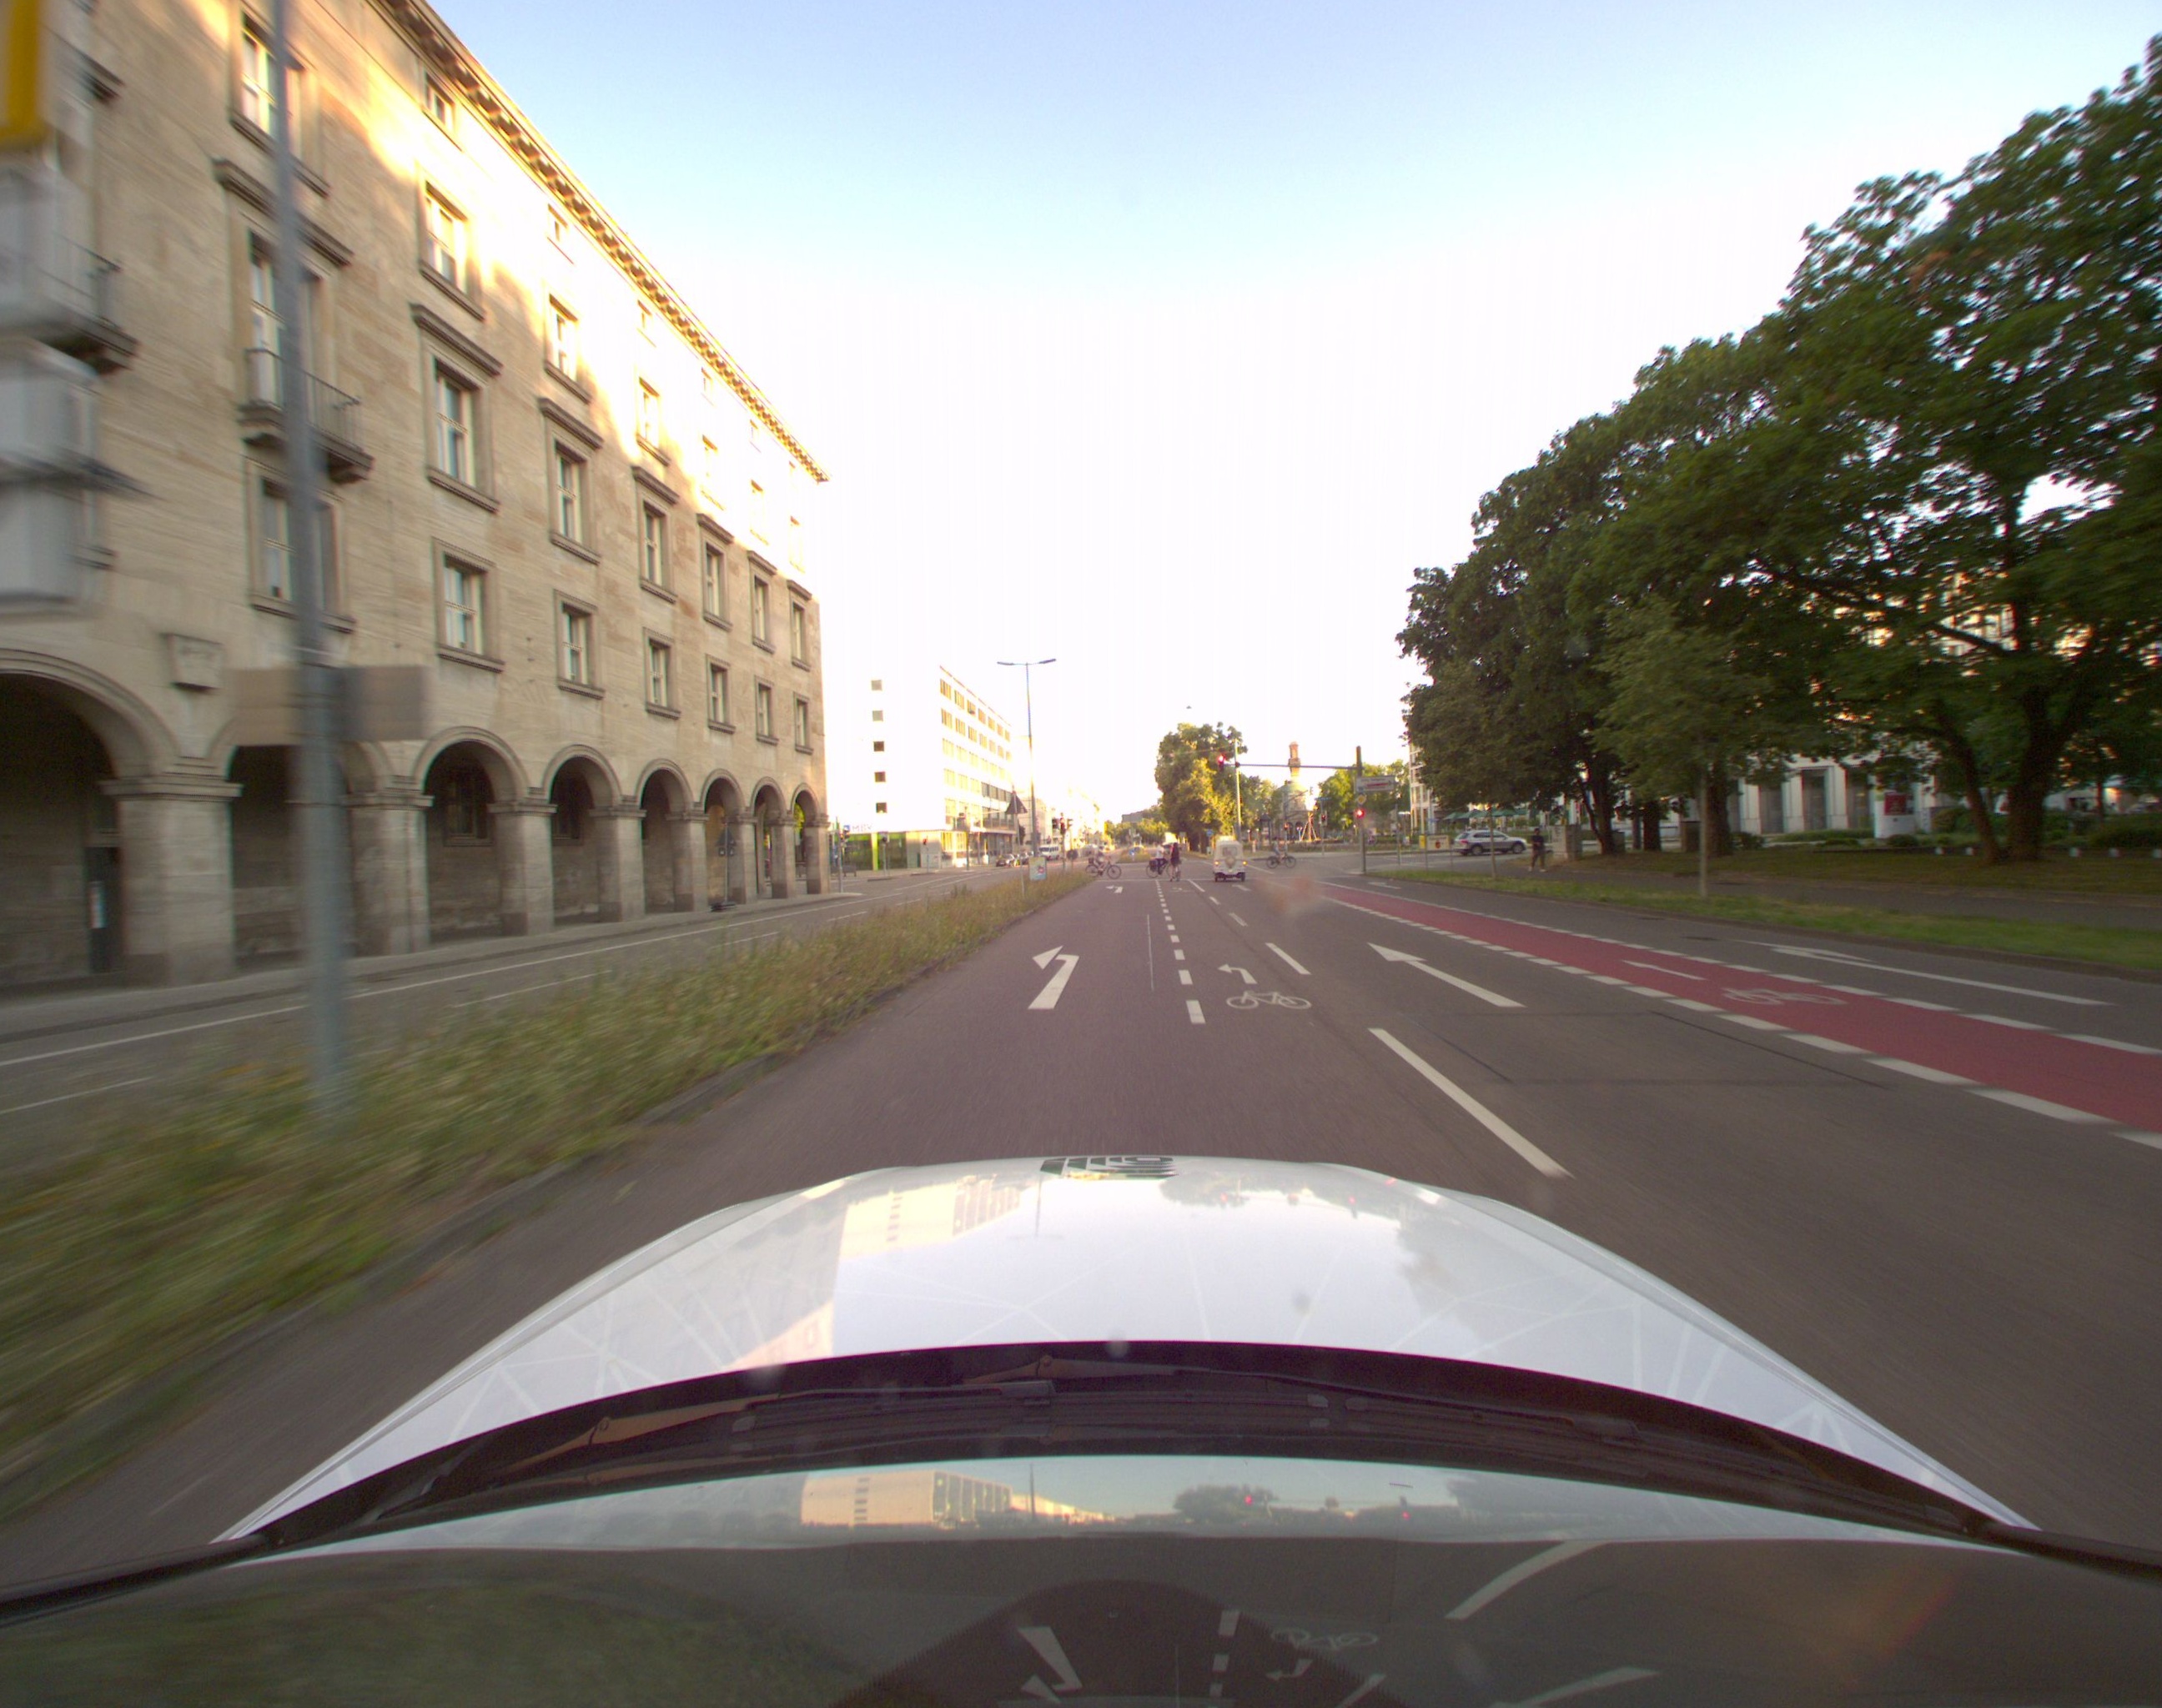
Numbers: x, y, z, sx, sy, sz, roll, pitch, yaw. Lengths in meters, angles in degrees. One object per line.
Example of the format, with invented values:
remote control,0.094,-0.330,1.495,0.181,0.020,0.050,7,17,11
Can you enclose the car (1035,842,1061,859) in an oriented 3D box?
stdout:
car,-5.094,-0.582,125.928,2.160,2.385,6.014,-3,-2,16

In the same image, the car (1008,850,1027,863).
car,-8.034,0.353,103.679,1.788,1.475,4.004,-3,-2,4

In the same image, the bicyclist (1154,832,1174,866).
bicyclist,4.180,-0.241,41.190,0.739,1.693,0.769,-3,0,22

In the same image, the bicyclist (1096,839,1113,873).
bicyclist,1.178,0.104,40.823,0.744,1.693,0.715,-3,0,0

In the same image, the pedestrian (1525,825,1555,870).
pedestrian,17.685,-0.246,31.417,0.692,1.693,0.749,-3,0,3

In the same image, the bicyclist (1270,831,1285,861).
bicyclist,11.677,-0.479,48.348,0.742,1.693,0.717,-3,0,7

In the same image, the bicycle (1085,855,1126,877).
bicycle,1.234,0.584,40.838,2.009,1.069,0.730,-1,0,-1

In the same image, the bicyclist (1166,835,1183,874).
bicyclist,4.116,0.012,35.910,0.625,1.693,0.749,-3,0,4

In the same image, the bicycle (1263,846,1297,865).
bicycle,11.816,0.076,48.350,1.886,1.069,0.732,-2,0,7

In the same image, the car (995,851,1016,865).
car,-8.971,0.446,96.491,1.788,1.475,4.004,-3,-2,4

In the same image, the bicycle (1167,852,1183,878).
bicycle,4.169,0.476,36.227,0.634,1.069,2.072,-2,1,4

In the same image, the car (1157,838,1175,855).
car,11.010,-0.962,105.719,1.985,2.013,4.004,-3,1,4

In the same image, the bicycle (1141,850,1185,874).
bicycle,4.148,0.403,41.203,2.040,1.069,0.791,-2,0,21

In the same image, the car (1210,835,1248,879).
car,6.429,0.094,35.491,1.452,1.780,2.570,-2,2,7

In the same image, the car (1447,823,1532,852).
car,26.419,-1.046,52.751,4.524,1.648,1.997,-3,1,-4
